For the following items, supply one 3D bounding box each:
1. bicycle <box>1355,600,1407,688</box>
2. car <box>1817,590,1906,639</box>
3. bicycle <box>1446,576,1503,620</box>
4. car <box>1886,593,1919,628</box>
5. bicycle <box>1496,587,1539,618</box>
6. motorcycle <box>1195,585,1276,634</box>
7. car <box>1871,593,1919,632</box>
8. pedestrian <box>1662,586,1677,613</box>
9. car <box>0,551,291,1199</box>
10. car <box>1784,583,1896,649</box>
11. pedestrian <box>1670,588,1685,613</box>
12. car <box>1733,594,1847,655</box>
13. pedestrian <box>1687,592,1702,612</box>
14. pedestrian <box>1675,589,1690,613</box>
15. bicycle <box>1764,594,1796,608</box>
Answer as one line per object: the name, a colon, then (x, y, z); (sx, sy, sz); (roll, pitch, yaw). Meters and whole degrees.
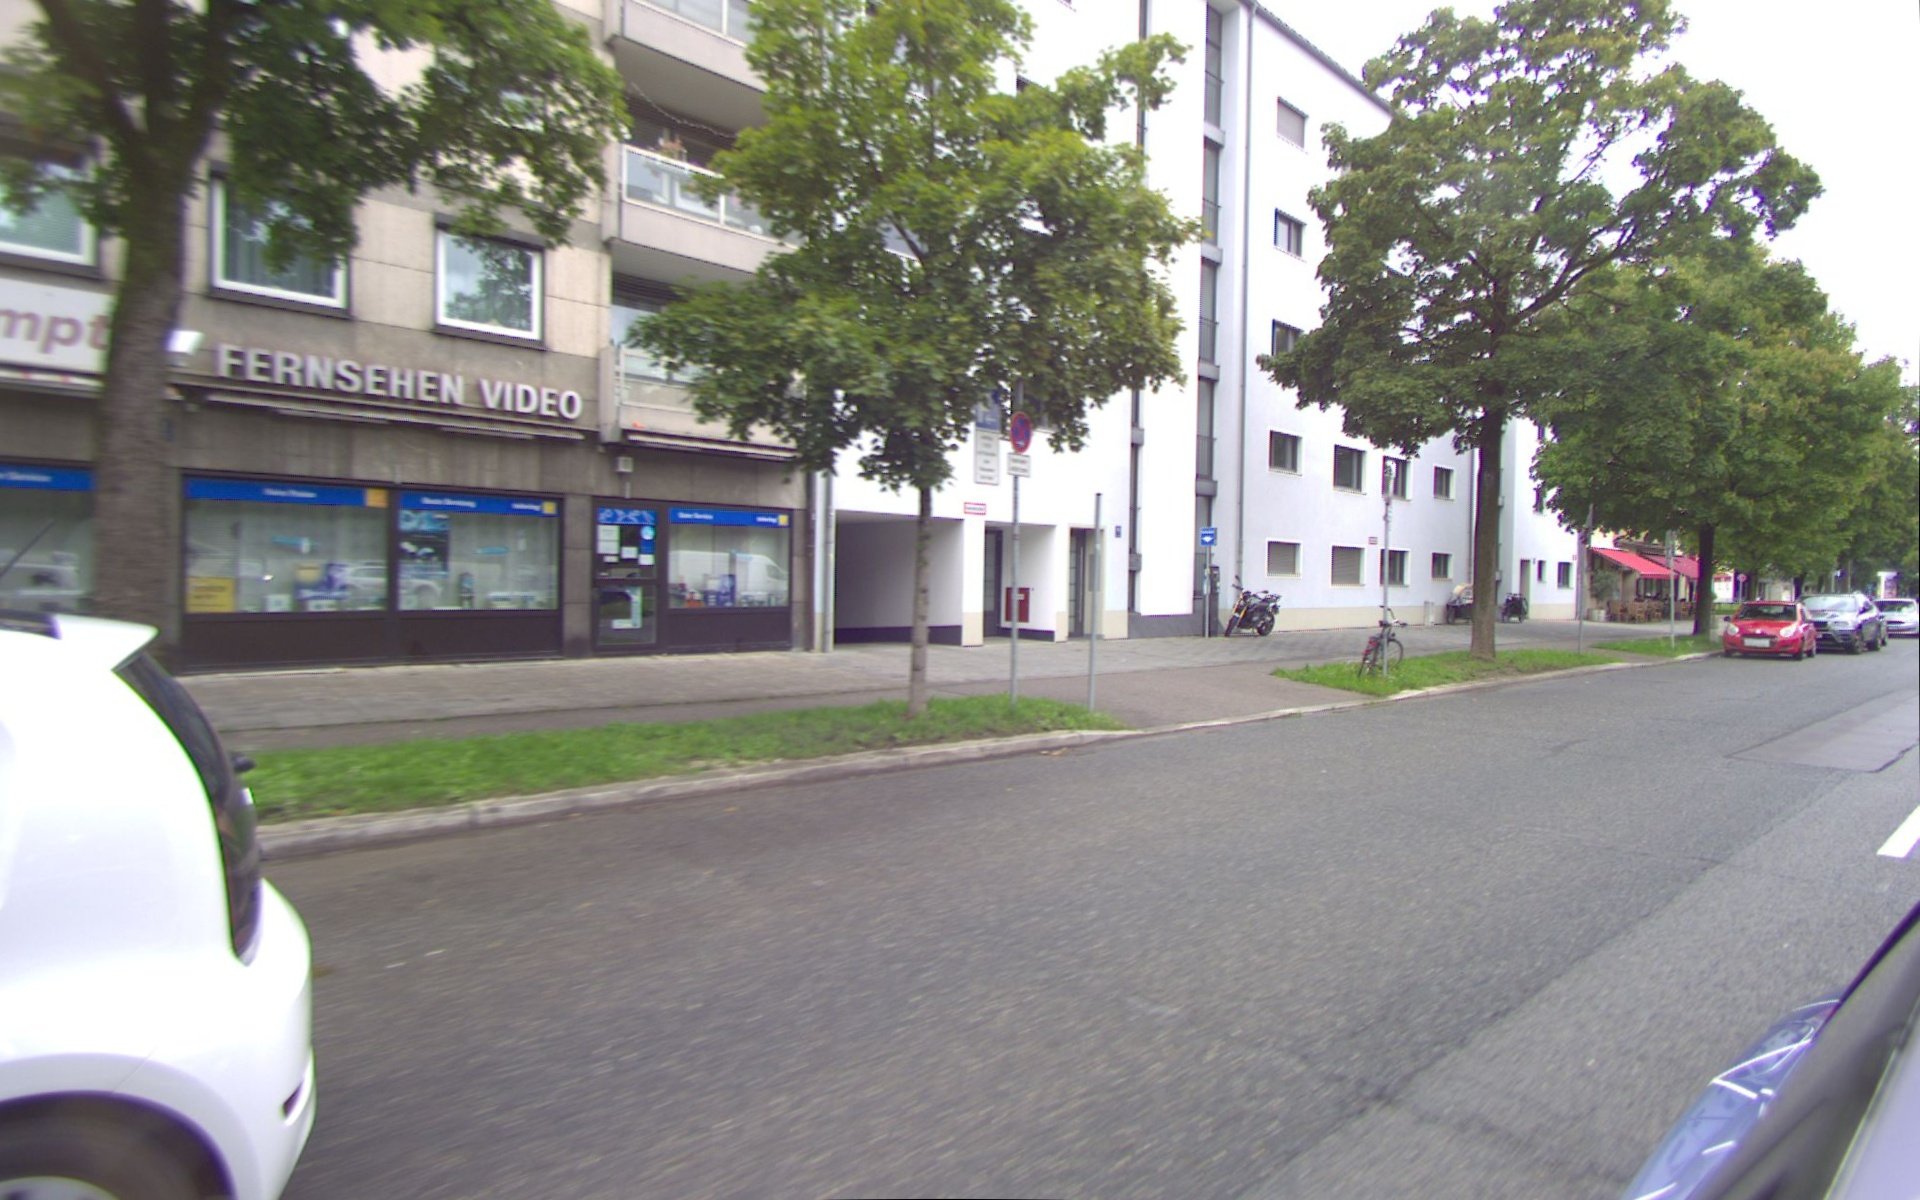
bicycle: (6.669, 0.647, 15.965); (0.452, 1.271, 2.126); (1, 1, 30)
car: (30.107, 0.444, 33.757); (3.706, 1.541, 1.832); (0, 1, -42)
bicycle: (17.525, -0.081, 34.438); (2.547, 1.424, 0.704); (0, 5, -41)
car: (43.113, 0.445, 45.697); (1.830, 1.491, 3.826); (2, 1, 44)
bicycle: (20.571, 0.079, 37.322); (2.157, 1.059, 0.623); (0, 5, -41)
motorcycle: (6.556, 0.200, 24.039); (2.161, 1.099, 0.763); (0, 2, -41)
car: (39.127, 0.471, 41.915); (4.450, 1.541, 1.830); (0, 0, -45)
pedestrian: (36.558, -0.021, 52.146); (0.543, 1.356, 0.539); (0, 1, -42)
car: (-3.065, 0.676, 1.424); (3.374, 1.509, 1.689); (0, 0, -41)
car: (25.885, 0.419, 29.722); (4.428, 1.768, 1.833); (0, 1, -40)
pedestrian: (37.506, 0.005, 52.878); (0.478, 1.284, 0.539); (0, 1, -42)
car: (21.515, 0.576, 26.189); (3.928, 1.459, 1.525); (0, 1, -39)
pedestrian: (39.493, 0.090, 54.405); (0.478, 1.067, 0.539); (0, 1, -40)
pedestrian: (38.232, 0.064, 53.522); (0.478, 1.229, 0.539); (0, 1, -40)
bicycle: (68.205, 0.065, 84.183); (0.653, 1.081, 2.027); (0, 1, -44)
